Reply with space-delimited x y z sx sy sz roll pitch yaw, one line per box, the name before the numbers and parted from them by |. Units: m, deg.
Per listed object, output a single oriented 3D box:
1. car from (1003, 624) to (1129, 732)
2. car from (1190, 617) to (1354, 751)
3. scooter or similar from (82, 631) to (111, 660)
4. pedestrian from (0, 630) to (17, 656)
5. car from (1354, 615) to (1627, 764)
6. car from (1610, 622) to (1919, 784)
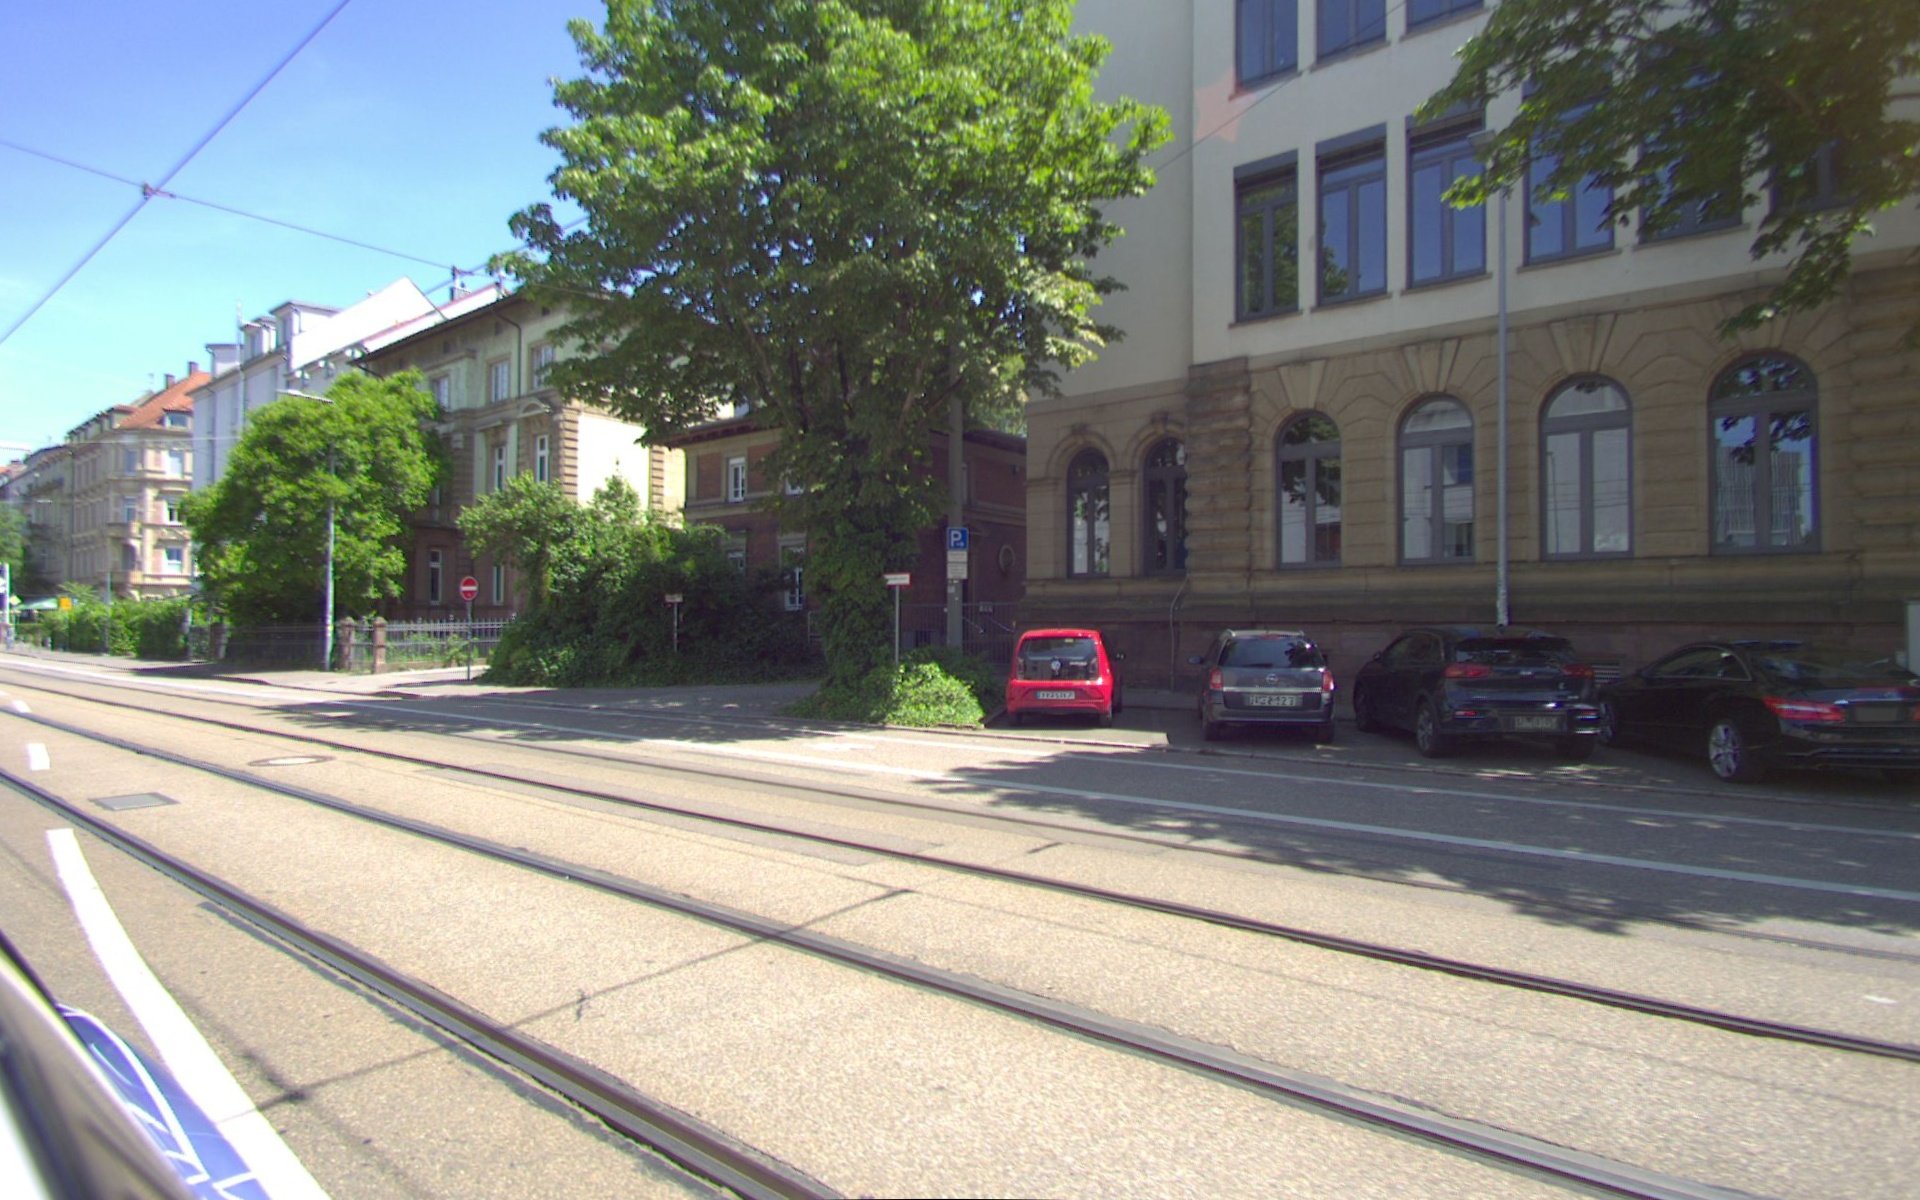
car | 1.814 1.178 16.424 1.653 1.527 3.339 -1 -1 13
car | 4.293 1.058 14.543 1.651 1.596 4.309 0 -1 9
scooter or similar | -43.993 2.324 51.549 0.596 1.462 0.999 0 -1 38
pedestrian | -60.922 2.756 64.763 0.939 1.654 0.732 -2 -3 41
car | 6.471 1.032 12.873 1.772 1.589 3.810 0 -2 6
car | 8.545 0.952 10.597 1.653 1.385 3.917 -1 -2 13
